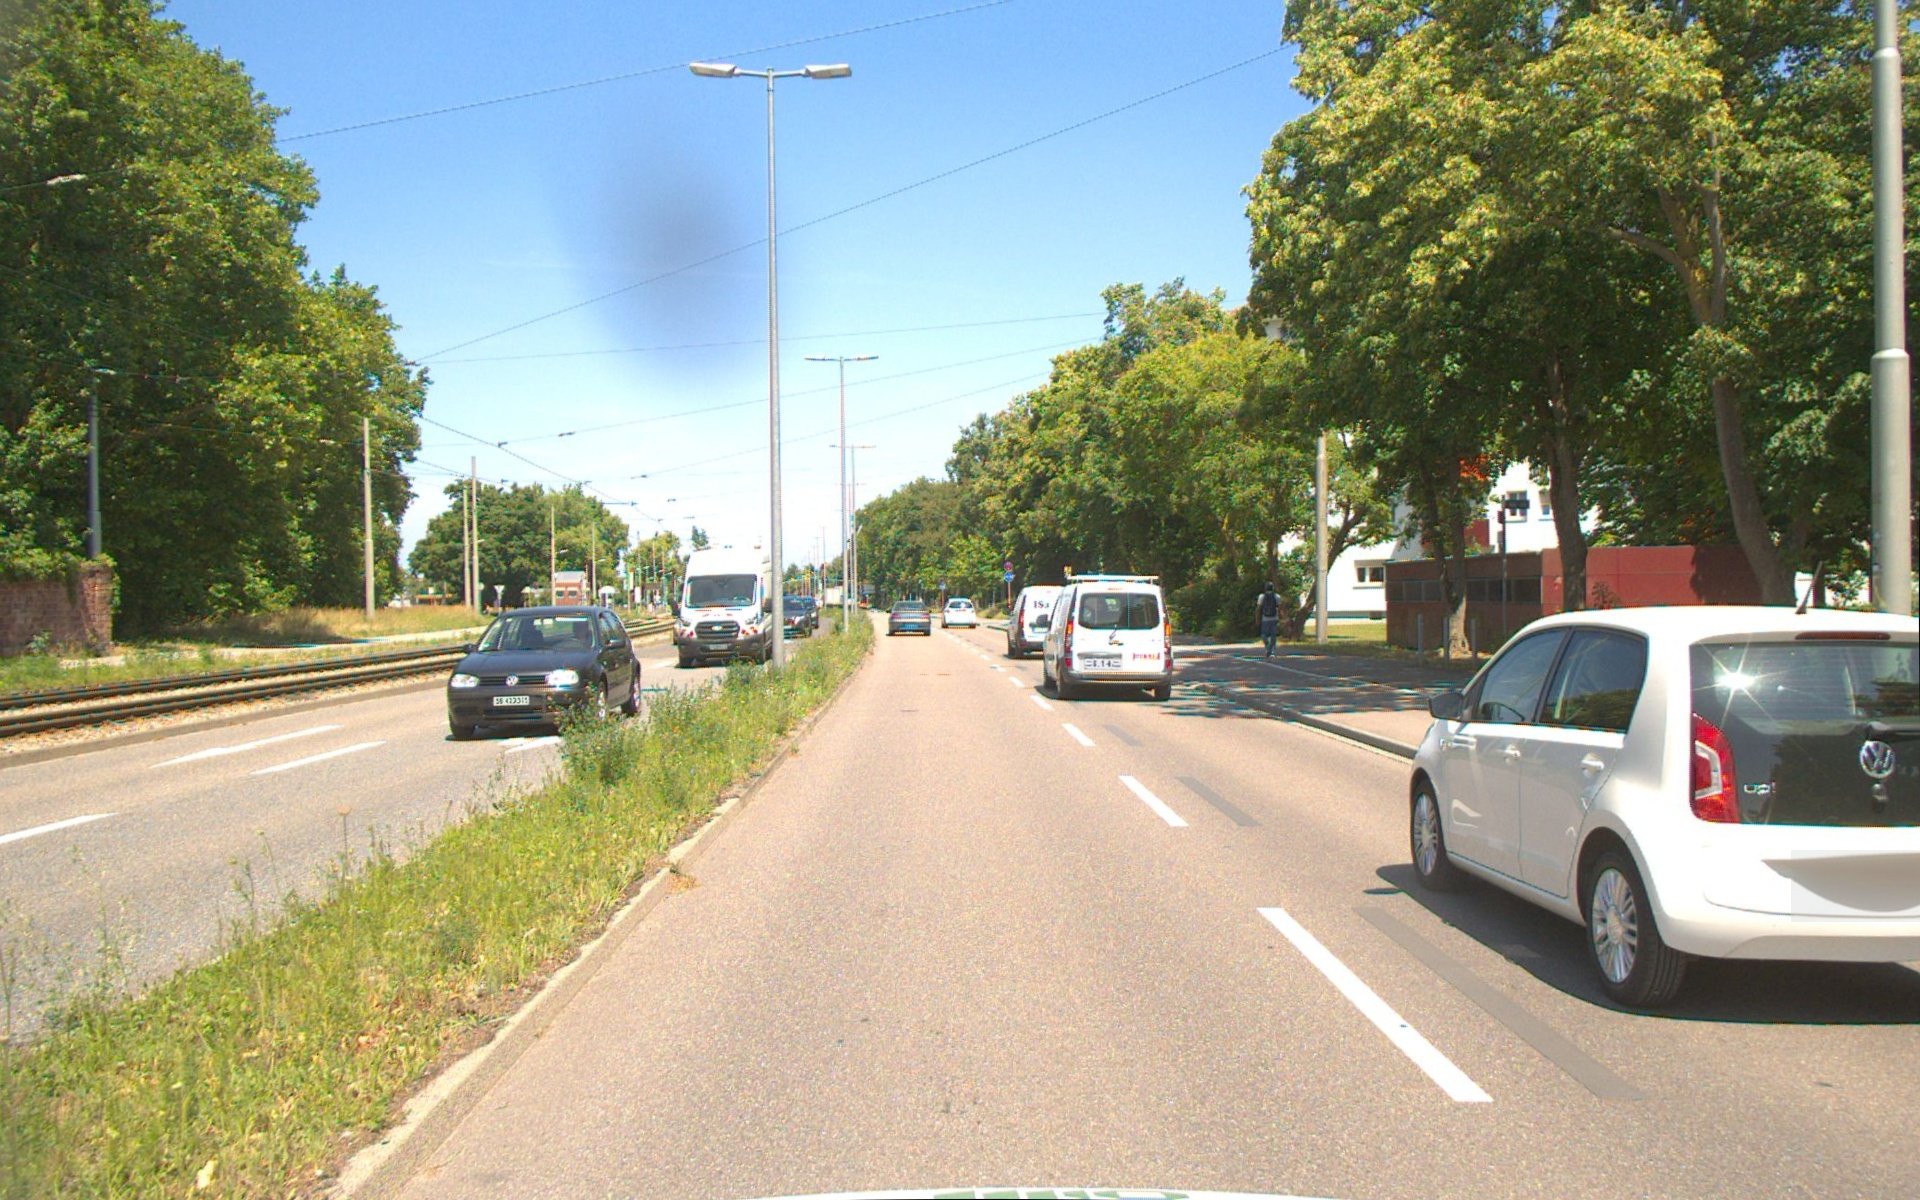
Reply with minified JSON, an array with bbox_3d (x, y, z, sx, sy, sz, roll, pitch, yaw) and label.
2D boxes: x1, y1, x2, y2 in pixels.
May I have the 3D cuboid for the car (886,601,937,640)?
[{"bbox_3d":[-2.002,0.827,67.718,1.767,1.512,3.995,-1,0,-6],"label":"car"}]

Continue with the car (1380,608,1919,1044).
[{"bbox_3d":[3.266,0.781,7.593,1.625,1.475,3.853,0,0,-1],"label":"car"}]

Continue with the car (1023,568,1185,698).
[{"bbox_3d":[2.217,0.494,26.643,1.789,1.915,4.450,0,0,-6],"label":"car"}]

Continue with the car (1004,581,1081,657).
[{"bbox_3d":[2.075,0.453,42.567,1.693,1.845,3.999,0,0,-2],"label":"car"}]

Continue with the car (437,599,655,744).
[{"bbox_3d":[-4.818,0.767,19.778,1.681,1.484,3.912,-2,0,-2],"label":"car"}]

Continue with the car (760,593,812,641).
[{"bbox_3d":[-6.955,0.658,66.443,1.793,1.787,4.485,-2,0,-4],"label":"car"}]

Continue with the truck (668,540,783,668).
[{"bbox_3d":[-5.574,0.071,40.002,2.039,2.796,5.545,-2,0,-2],"label":"truck"}]

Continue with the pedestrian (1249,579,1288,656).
[{"bbox_3d":[6.789,0.378,36.462,0.655,1.672,0.856,-1,0,-3],"label":"pedestrian"}]

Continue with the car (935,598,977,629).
[{"bbox_3d":[-0.243,0.685,87.273,1.768,1.567,3.994,-1,0,-6],"label":"car"}]

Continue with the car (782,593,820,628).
[{"bbox_3d":[-8.421,0.542,88.023,1.793,1.743,4.790,-2,0,-4],"label":"car"}]

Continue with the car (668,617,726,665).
[{"bbox_3d":[-9.622,1.471,60.806,1.794,1.612,3.767,-2,0,-5],"label":"car"}]
